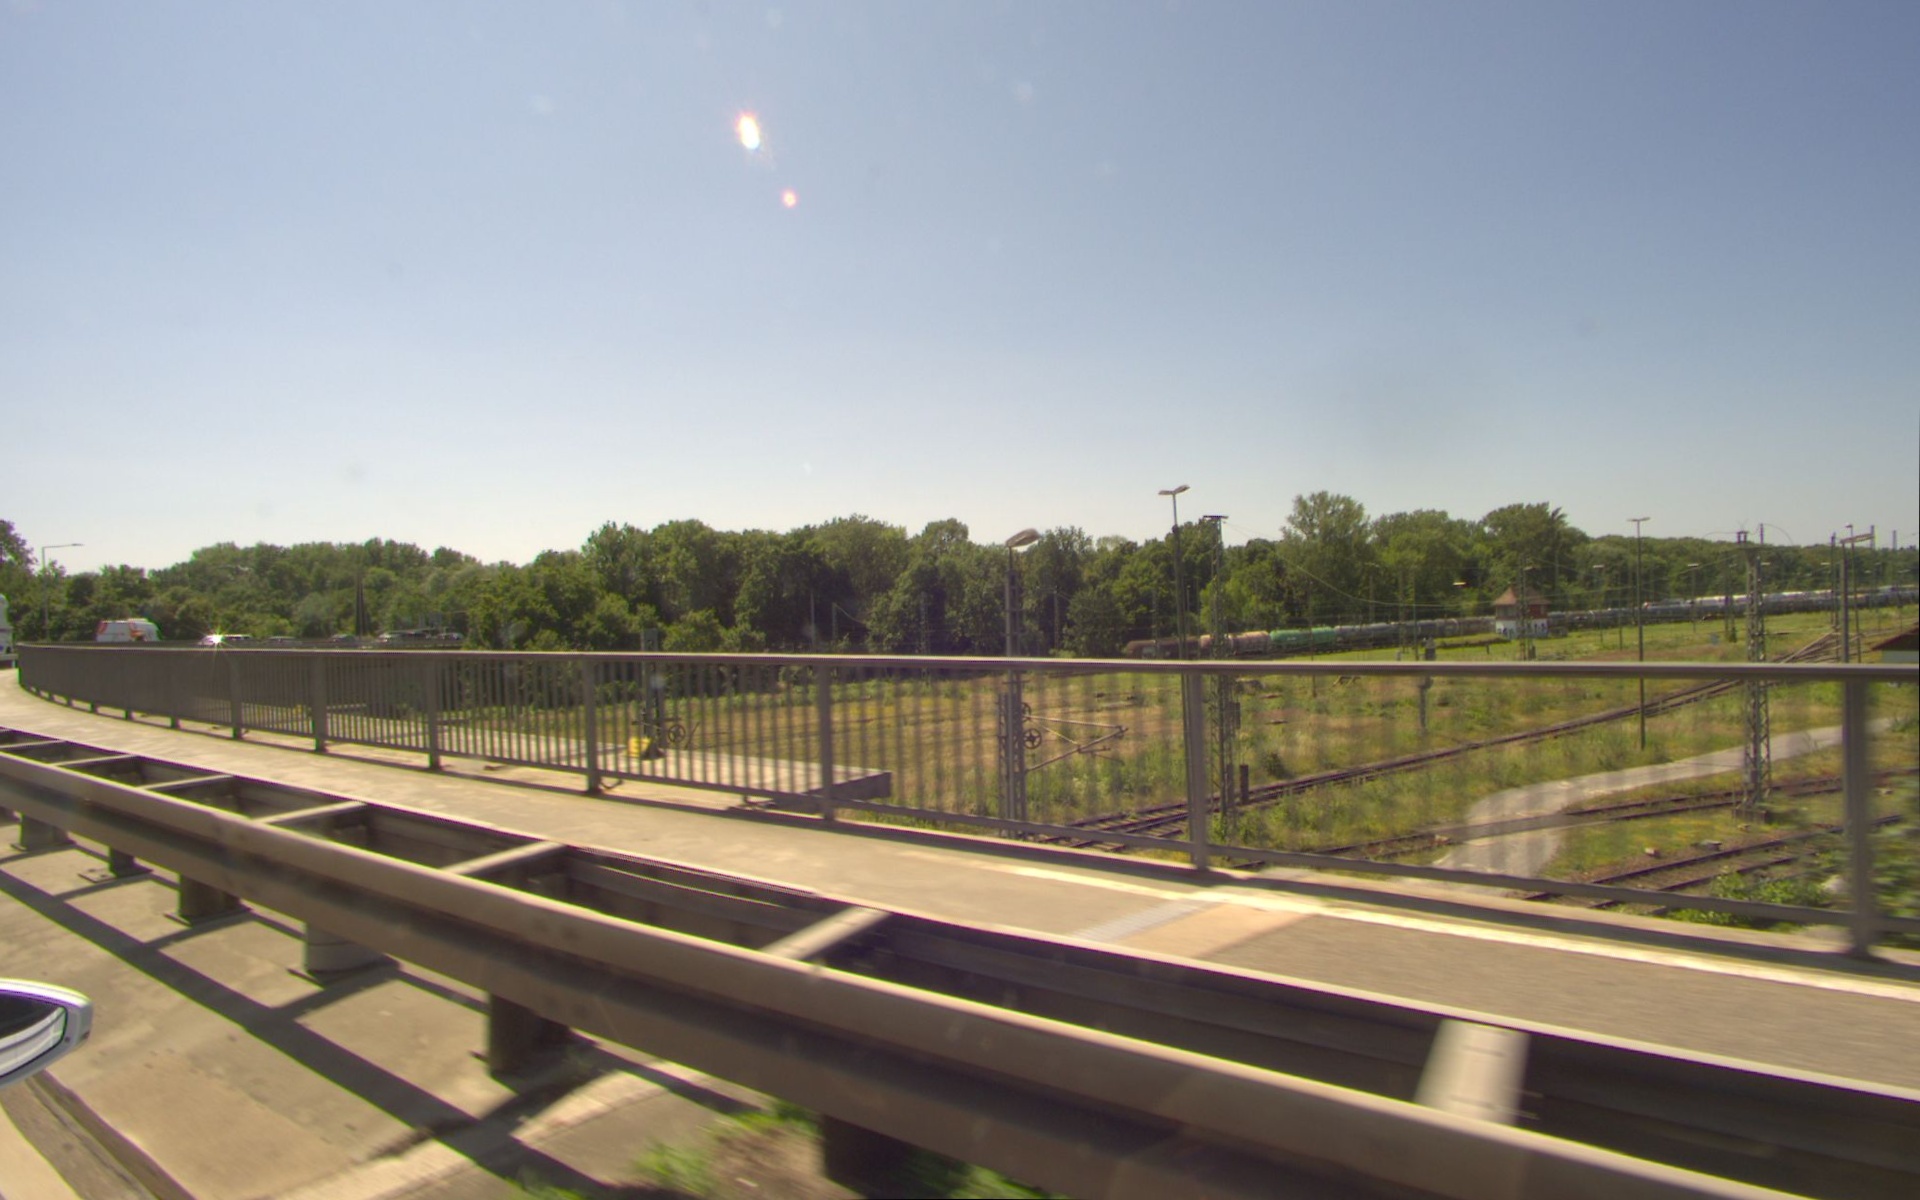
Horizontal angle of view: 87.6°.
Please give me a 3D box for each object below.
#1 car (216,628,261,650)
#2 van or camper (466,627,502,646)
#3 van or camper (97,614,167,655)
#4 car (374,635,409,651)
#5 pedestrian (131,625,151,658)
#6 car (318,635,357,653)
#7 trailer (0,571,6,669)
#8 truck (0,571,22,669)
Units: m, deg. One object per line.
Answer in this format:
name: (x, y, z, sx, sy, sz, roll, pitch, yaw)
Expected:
car: (-62.709, 3.401, 87.065, 1.861, 1.873, 3.997, 0, -3, -15)
van or camper: (-69.373, 5.330, 146.101, 2.444, 2.318, 4.969, -1, -6, 7)
van or camper: (-58.416, 2.425, 70.745, 2.174, 2.746, 5.907, 0, -1, -23)
car: (-66.684, 5.030, 117.506, 1.858, 1.873, 4.003, 0, -3, -2)
pedestrian: (-48.760, 2.473, 59.613, 0.728, 1.992, 0.732, 1, -2, -26)
car: (-66.691, 4.756, 107.281, 1.858, 1.873, 4.002, 0, -3, -3)
trailer: (-44.161, 0.731, 42.691, 3.105, 4.671, 12.863, 2, -3, -35)
truck: (-47.954, 0.974, 48.092, 3.140, 4.642, 7.349, 1, -3, -35)
